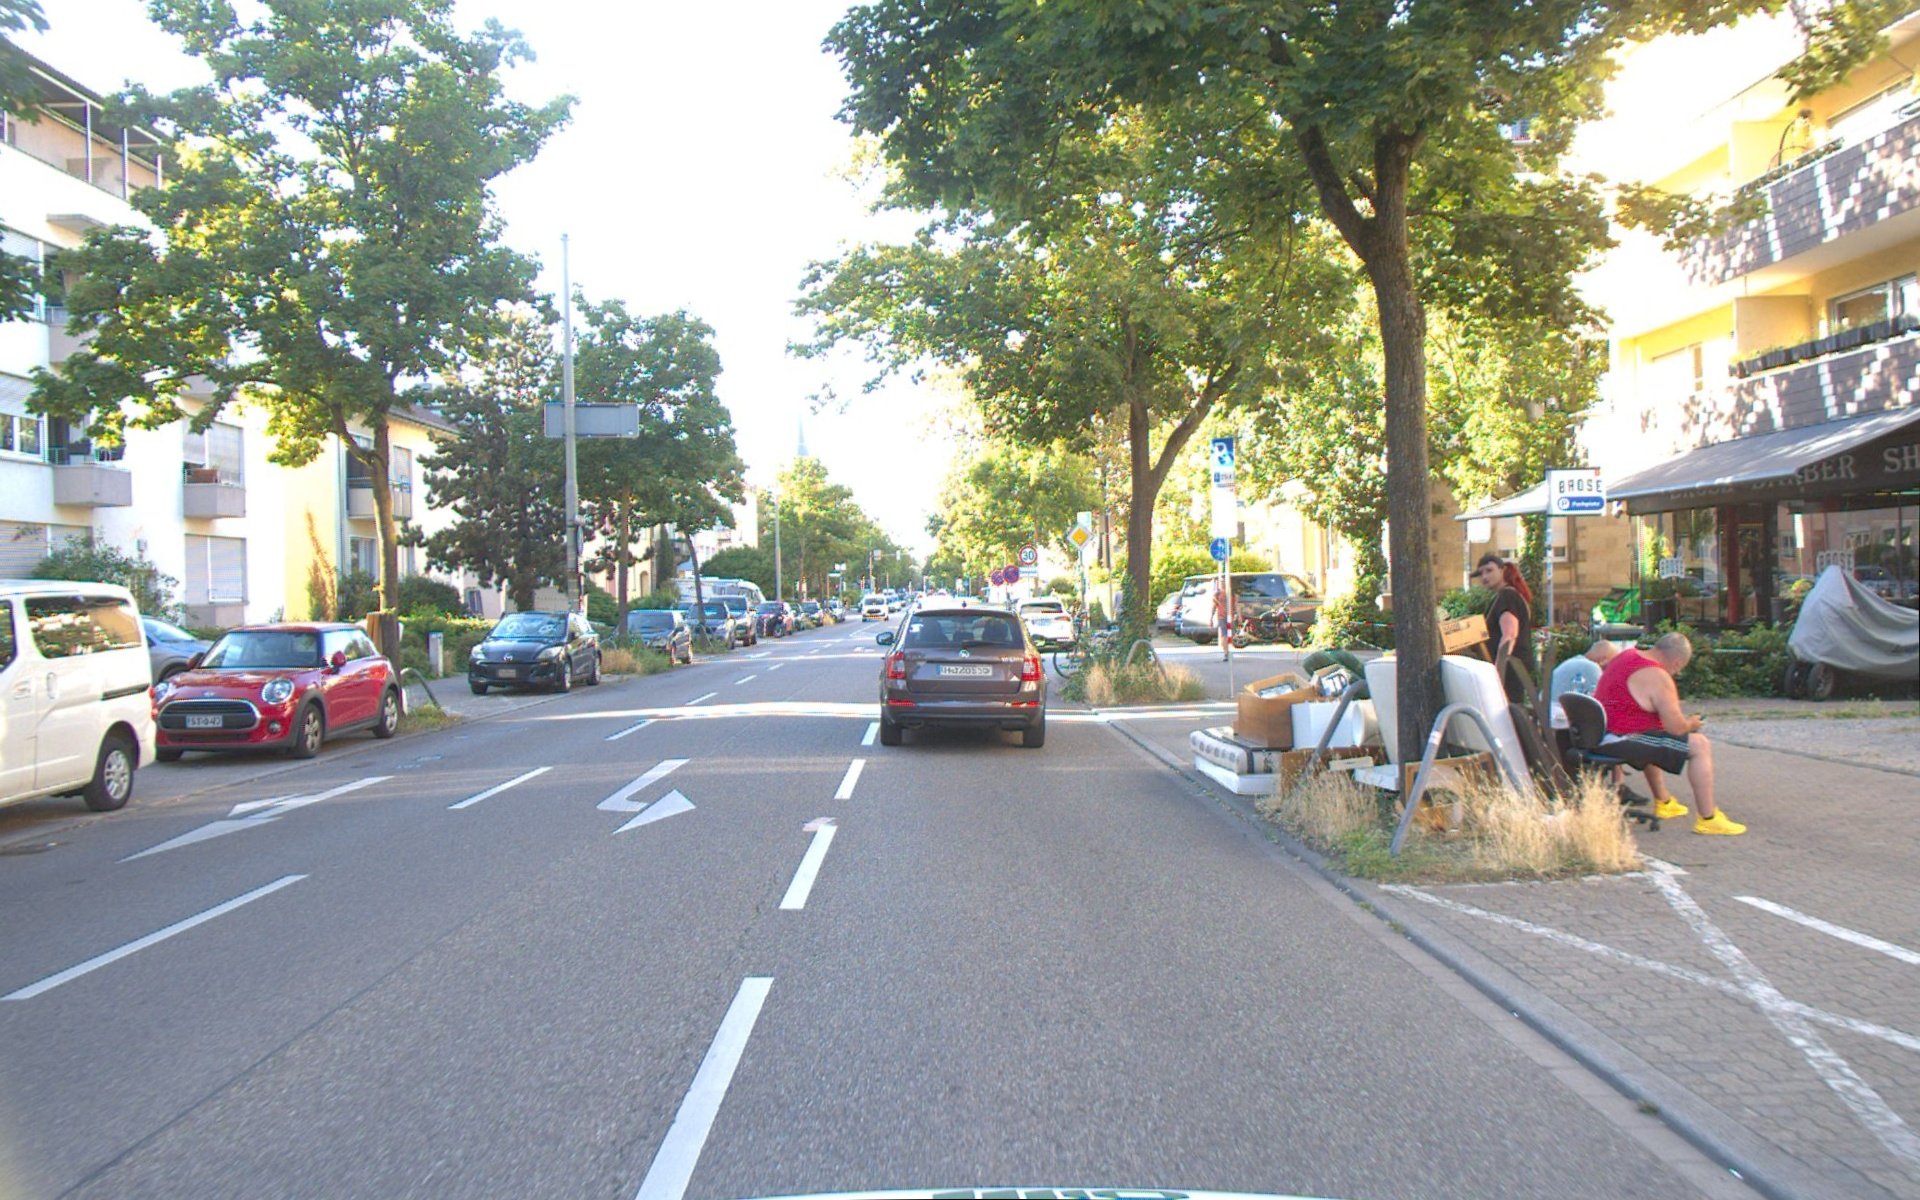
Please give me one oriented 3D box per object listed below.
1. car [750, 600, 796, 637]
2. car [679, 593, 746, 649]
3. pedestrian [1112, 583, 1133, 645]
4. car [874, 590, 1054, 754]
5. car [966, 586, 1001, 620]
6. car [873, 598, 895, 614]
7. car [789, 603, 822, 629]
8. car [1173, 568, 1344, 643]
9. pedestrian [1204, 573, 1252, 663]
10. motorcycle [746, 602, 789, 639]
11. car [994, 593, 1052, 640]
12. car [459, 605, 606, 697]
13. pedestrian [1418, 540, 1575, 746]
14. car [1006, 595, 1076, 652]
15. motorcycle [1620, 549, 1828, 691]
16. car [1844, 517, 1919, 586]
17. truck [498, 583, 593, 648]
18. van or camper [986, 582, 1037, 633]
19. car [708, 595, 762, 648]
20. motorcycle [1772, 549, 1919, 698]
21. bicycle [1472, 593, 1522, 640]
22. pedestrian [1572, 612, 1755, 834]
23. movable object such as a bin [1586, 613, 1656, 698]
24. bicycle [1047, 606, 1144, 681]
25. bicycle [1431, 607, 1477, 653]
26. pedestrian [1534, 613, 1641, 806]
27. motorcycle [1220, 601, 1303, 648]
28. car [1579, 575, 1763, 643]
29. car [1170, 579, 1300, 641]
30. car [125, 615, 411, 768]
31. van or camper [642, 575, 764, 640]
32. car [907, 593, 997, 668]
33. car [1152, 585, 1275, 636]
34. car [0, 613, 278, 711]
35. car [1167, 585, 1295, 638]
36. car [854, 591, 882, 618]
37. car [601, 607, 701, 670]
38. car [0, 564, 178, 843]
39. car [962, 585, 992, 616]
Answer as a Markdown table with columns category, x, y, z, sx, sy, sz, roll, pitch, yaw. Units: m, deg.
| category | x | y | z | sx | sy | sz | roll | pitch | yaw |
| --- | --- | --- | --- | --- | --- | --- | --- | --- | --- |
| car | -8.520 | 0.833 | 75.577 | 1.630 | 1.538 | 4.177 | -1 | 1 | -1 |
| car | -8.289 | 0.668 | 55.598 | 1.715 | 1.771 | 3.590 | -1 | 1 | -1 |
| pedestrian | 4.884 | 0.413 | 49.660 | 0.524 | 1.825 | 0.687 | -1 | 0 | 1 |
| car | 0.038 | 0.680 | 17.927 | 1.694 | 1.520 | 3.951 | -1 | 1 | 0 |
| car | 1.311 | 0.137 | 93.096 | 1.695 | 1.847 | 3.949 | -1 | 1 | -2 |
| car | -7.564 | 0.582 | 164.974 | 1.953 | 1.534 | 3.999 | -1 | 0 | -1 |
| car | -9.038 | 0.935 | 97.030 | 1.630 | 1.457 | 3.274 | -1 | 1 | -1 |
| car | 8.316 | 0.139 | 45.968 | 4.483 | 1.926 | 1.896 | -2 | 0 | -29 |
| pedestrian | 5.561 | 0.366 | 34.404 | 0.741 | 1.827 | 0.905 | -1 | 0 | -6 |
| motorcycle | -8.216 | 0.877 | 70.593 | 0.761 | 1.538 | 1.998 | -2 | 0 | -43 |
| car | 2.044 | 0.515 | 54.397 | 1.783 | 1.438 | 4.112 | -1 | 1 | 1 |
| car | -7.954 | 0.903 | 31.121 | 1.682 | 1.523 | 4.247 | -1 | 1 | -1 |
| pedestrian | 4.086 | 0.311 | 12.597 | 1.046 | 1.502 | 0.476 | -1 | 0 | -21 |
| car | 2.204 | 0.622 | 45.915 | 1.783 | 1.438 | 4.112 | -1 | 1 | 1 |
| motorcycle | 9.240 | 0.238 | 20.062 | 2.148 | 1.649 | 0.731 | -1 | 0 | 5 |
| car | 21.279 | -1.060 | 35.891 | 3.278 | 1.443 | 1.660 | -1 | 0 | 0 |
| truck | -14.255 | 0.514 | 56.941 | 2.854 | 2.130 | 1.546 | -1 | 0 | -2 |
| van or camper | 2.140 | 0.304 | 69.815 | 1.953 | 2.049 | 3.999 | -1 | 1 | -1 |
| car | -8.178 | 0.756 | 60.288 | 1.476 | 1.788 | 3.693 | -1 | 1 | -1 |
| motorcycle | 10.692 | 0.251 | 19.105 | 2.148 | 1.649 | 0.890 | -1 | 0 | 5 |
| bicycle | 11.411 | 0.343 | 35.164 | 0.335 | 0.967 | 1.580 | -3 | 0 | -6 |
| pedestrian | 4.267 | 0.724 | 10.074 | 0.781 | 1.276 | 0.700 | -1 | 0 | -4 |
| movable object such as a bin | 7.806 | 0.648 | 19.540 | 0.600 | 0.966 | 0.539 | -1 | 0 | 0 |
| bicycle | 2.479 | 0.788 | 30.161 | 1.635 | 1.247 | 0.636 | -4 | 0 | 12 |
| bicycle | 10.663 | 0.638 | 35.735 | 0.335 | 0.967 | 1.580 | 1 | 0 | -6 |
| pedestrian | 4.353 | 0.744 | 11.509 | 0.639 | 1.276 | 0.658 | -1 | 0 | 18 |
| motorcycle | 7.724 | 0.624 | 42.399 | 2.012 | 1.144 | 0.525 | -1 | 0 | -6 |
| car | 18.057 | 0.217 | 42.140 | 3.837 | 1.612 | 1.929 | -1 | 0 | 0 |
| car | 8.225 | 0.279 | 49.374 | 3.761 | 1.708 | 1.496 | -2 | 1 | -31 |
| car | -7.722 | 0.955 | 18.854 | 1.682 | 1.445 | 3.786 | -1 | 1 | -1 |
| van or camper | -16.536 | 0.456 | 106.642 | 7.488 | 3.942 | 1.999 | -1 | 0 | -3 |
| car | -0.236 | 0.636 | 37.155 | 1.696 | 1.520 | 3.947 | -1 | 1 | -5 |
| car | 8.292 | 0.332 | 54.113 | 3.748 | 1.552 | 1.501 | -2 | 0 | -23 |
| car | -13.784 | 1.003 | 27.722 | 3.909 | 1.505 | 1.998 | 0 | 0 | -5 |
| car | 8.529 | 0.348 | 51.995 | 3.748 | 1.552 | 1.501 | -2 | 0 | -23 |
| car | -6.452 | 0.305 | 116.292 | 1.838 | 1.788 | 4.177 | -1 | 1 | -1 |
| car | -7.854 | 0.943 | 42.443 | 1.718 | 1.445 | 4.425 | -1 | 1 | 0 |
| car | -7.611 | 0.741 | 12.024 | 1.734 | 1.952 | 4.459 | -1 | 1 | -1 |
| car | 1.060 | 0.015 | 105.583 | 1.695 | 1.847 | 3.949 | -1 | 1 | -2 |
